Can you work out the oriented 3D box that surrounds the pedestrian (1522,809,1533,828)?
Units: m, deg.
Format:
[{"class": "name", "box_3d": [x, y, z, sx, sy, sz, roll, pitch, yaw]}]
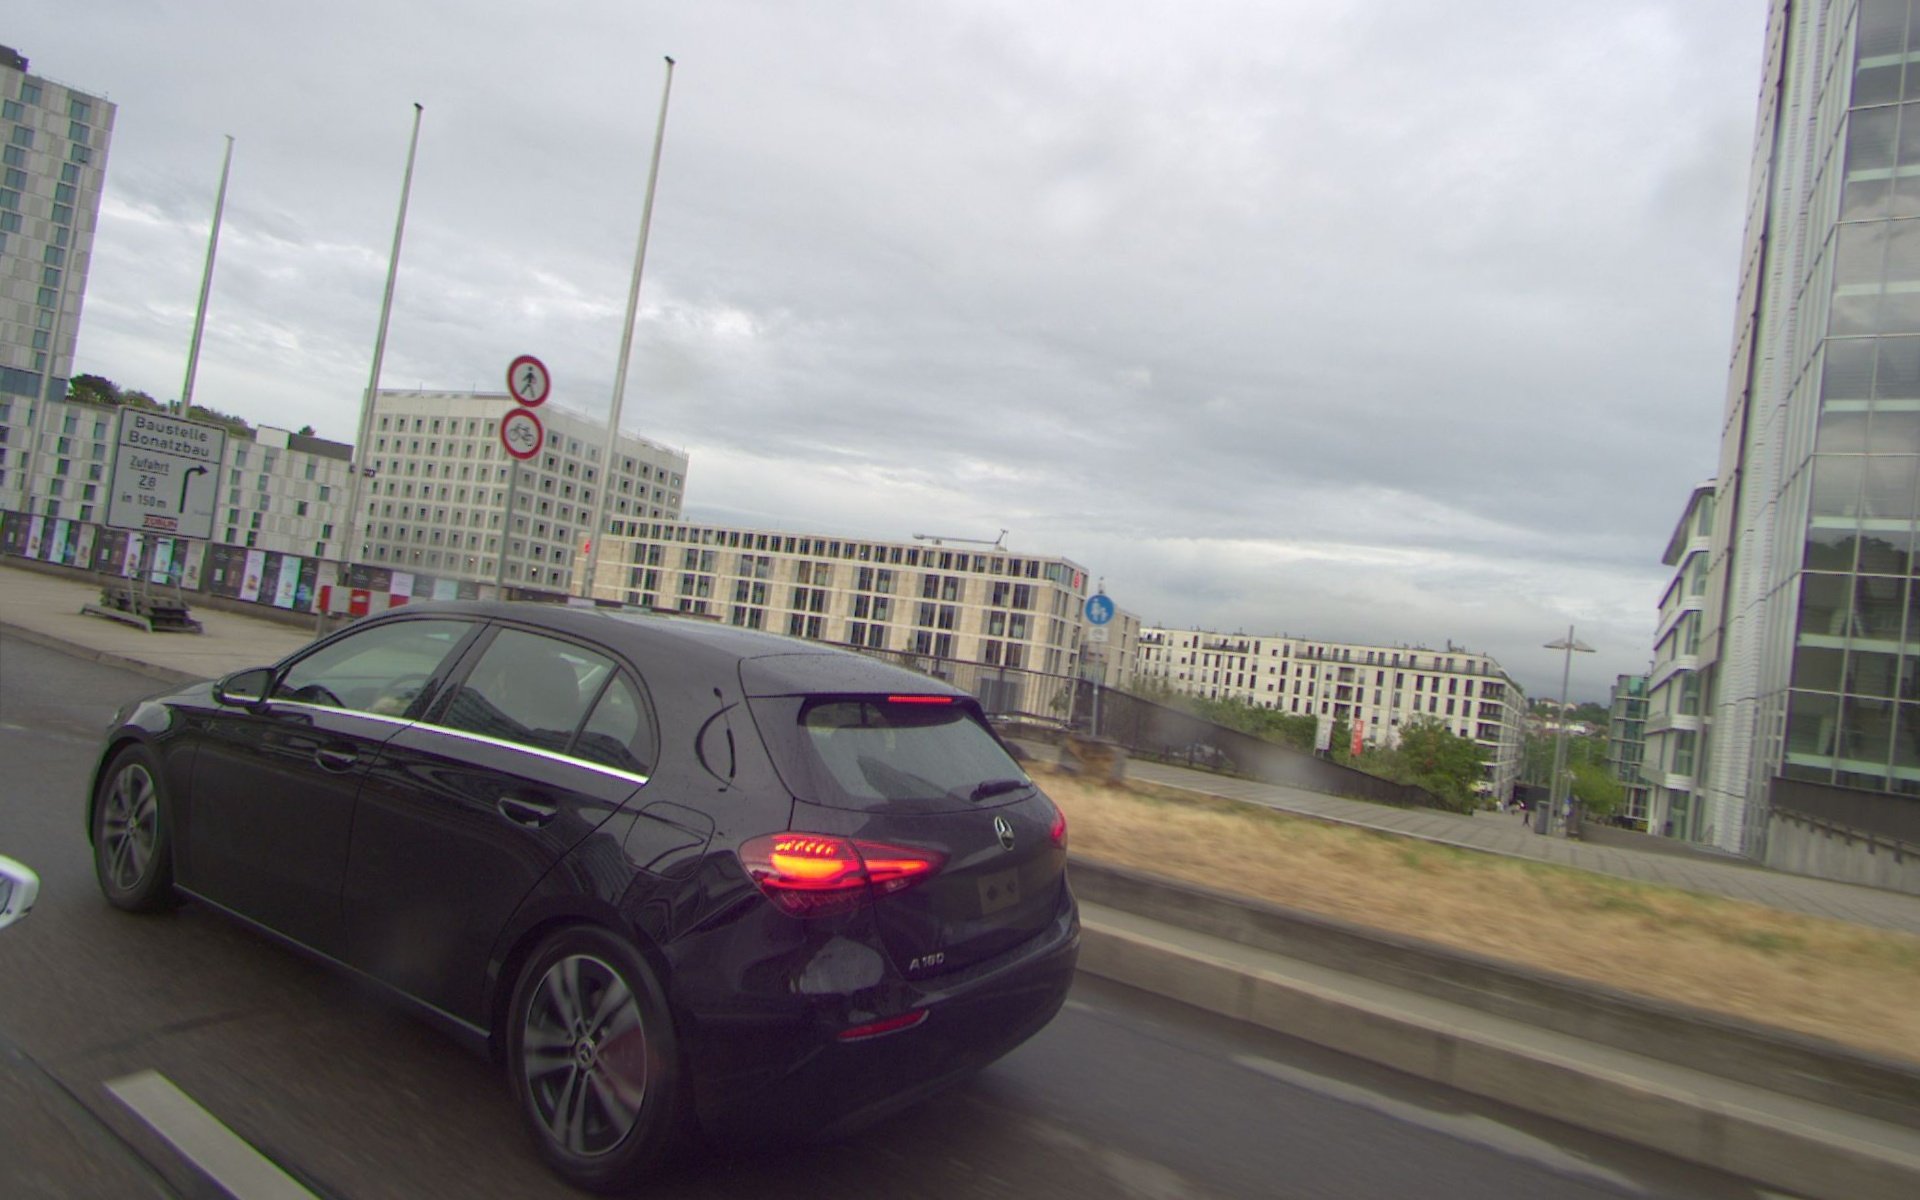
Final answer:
[{"class": "pedestrian", "box_3d": [59.382, 22.870, 105.280, 0.786, 1.720, 0.800, 7, -2, 25]}]

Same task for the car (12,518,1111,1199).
[{"class": "car", "box_3d": [-1.707, 0.589, 3.901, 4.086, 1.391, 1.727, 5, -3, 31]}]
